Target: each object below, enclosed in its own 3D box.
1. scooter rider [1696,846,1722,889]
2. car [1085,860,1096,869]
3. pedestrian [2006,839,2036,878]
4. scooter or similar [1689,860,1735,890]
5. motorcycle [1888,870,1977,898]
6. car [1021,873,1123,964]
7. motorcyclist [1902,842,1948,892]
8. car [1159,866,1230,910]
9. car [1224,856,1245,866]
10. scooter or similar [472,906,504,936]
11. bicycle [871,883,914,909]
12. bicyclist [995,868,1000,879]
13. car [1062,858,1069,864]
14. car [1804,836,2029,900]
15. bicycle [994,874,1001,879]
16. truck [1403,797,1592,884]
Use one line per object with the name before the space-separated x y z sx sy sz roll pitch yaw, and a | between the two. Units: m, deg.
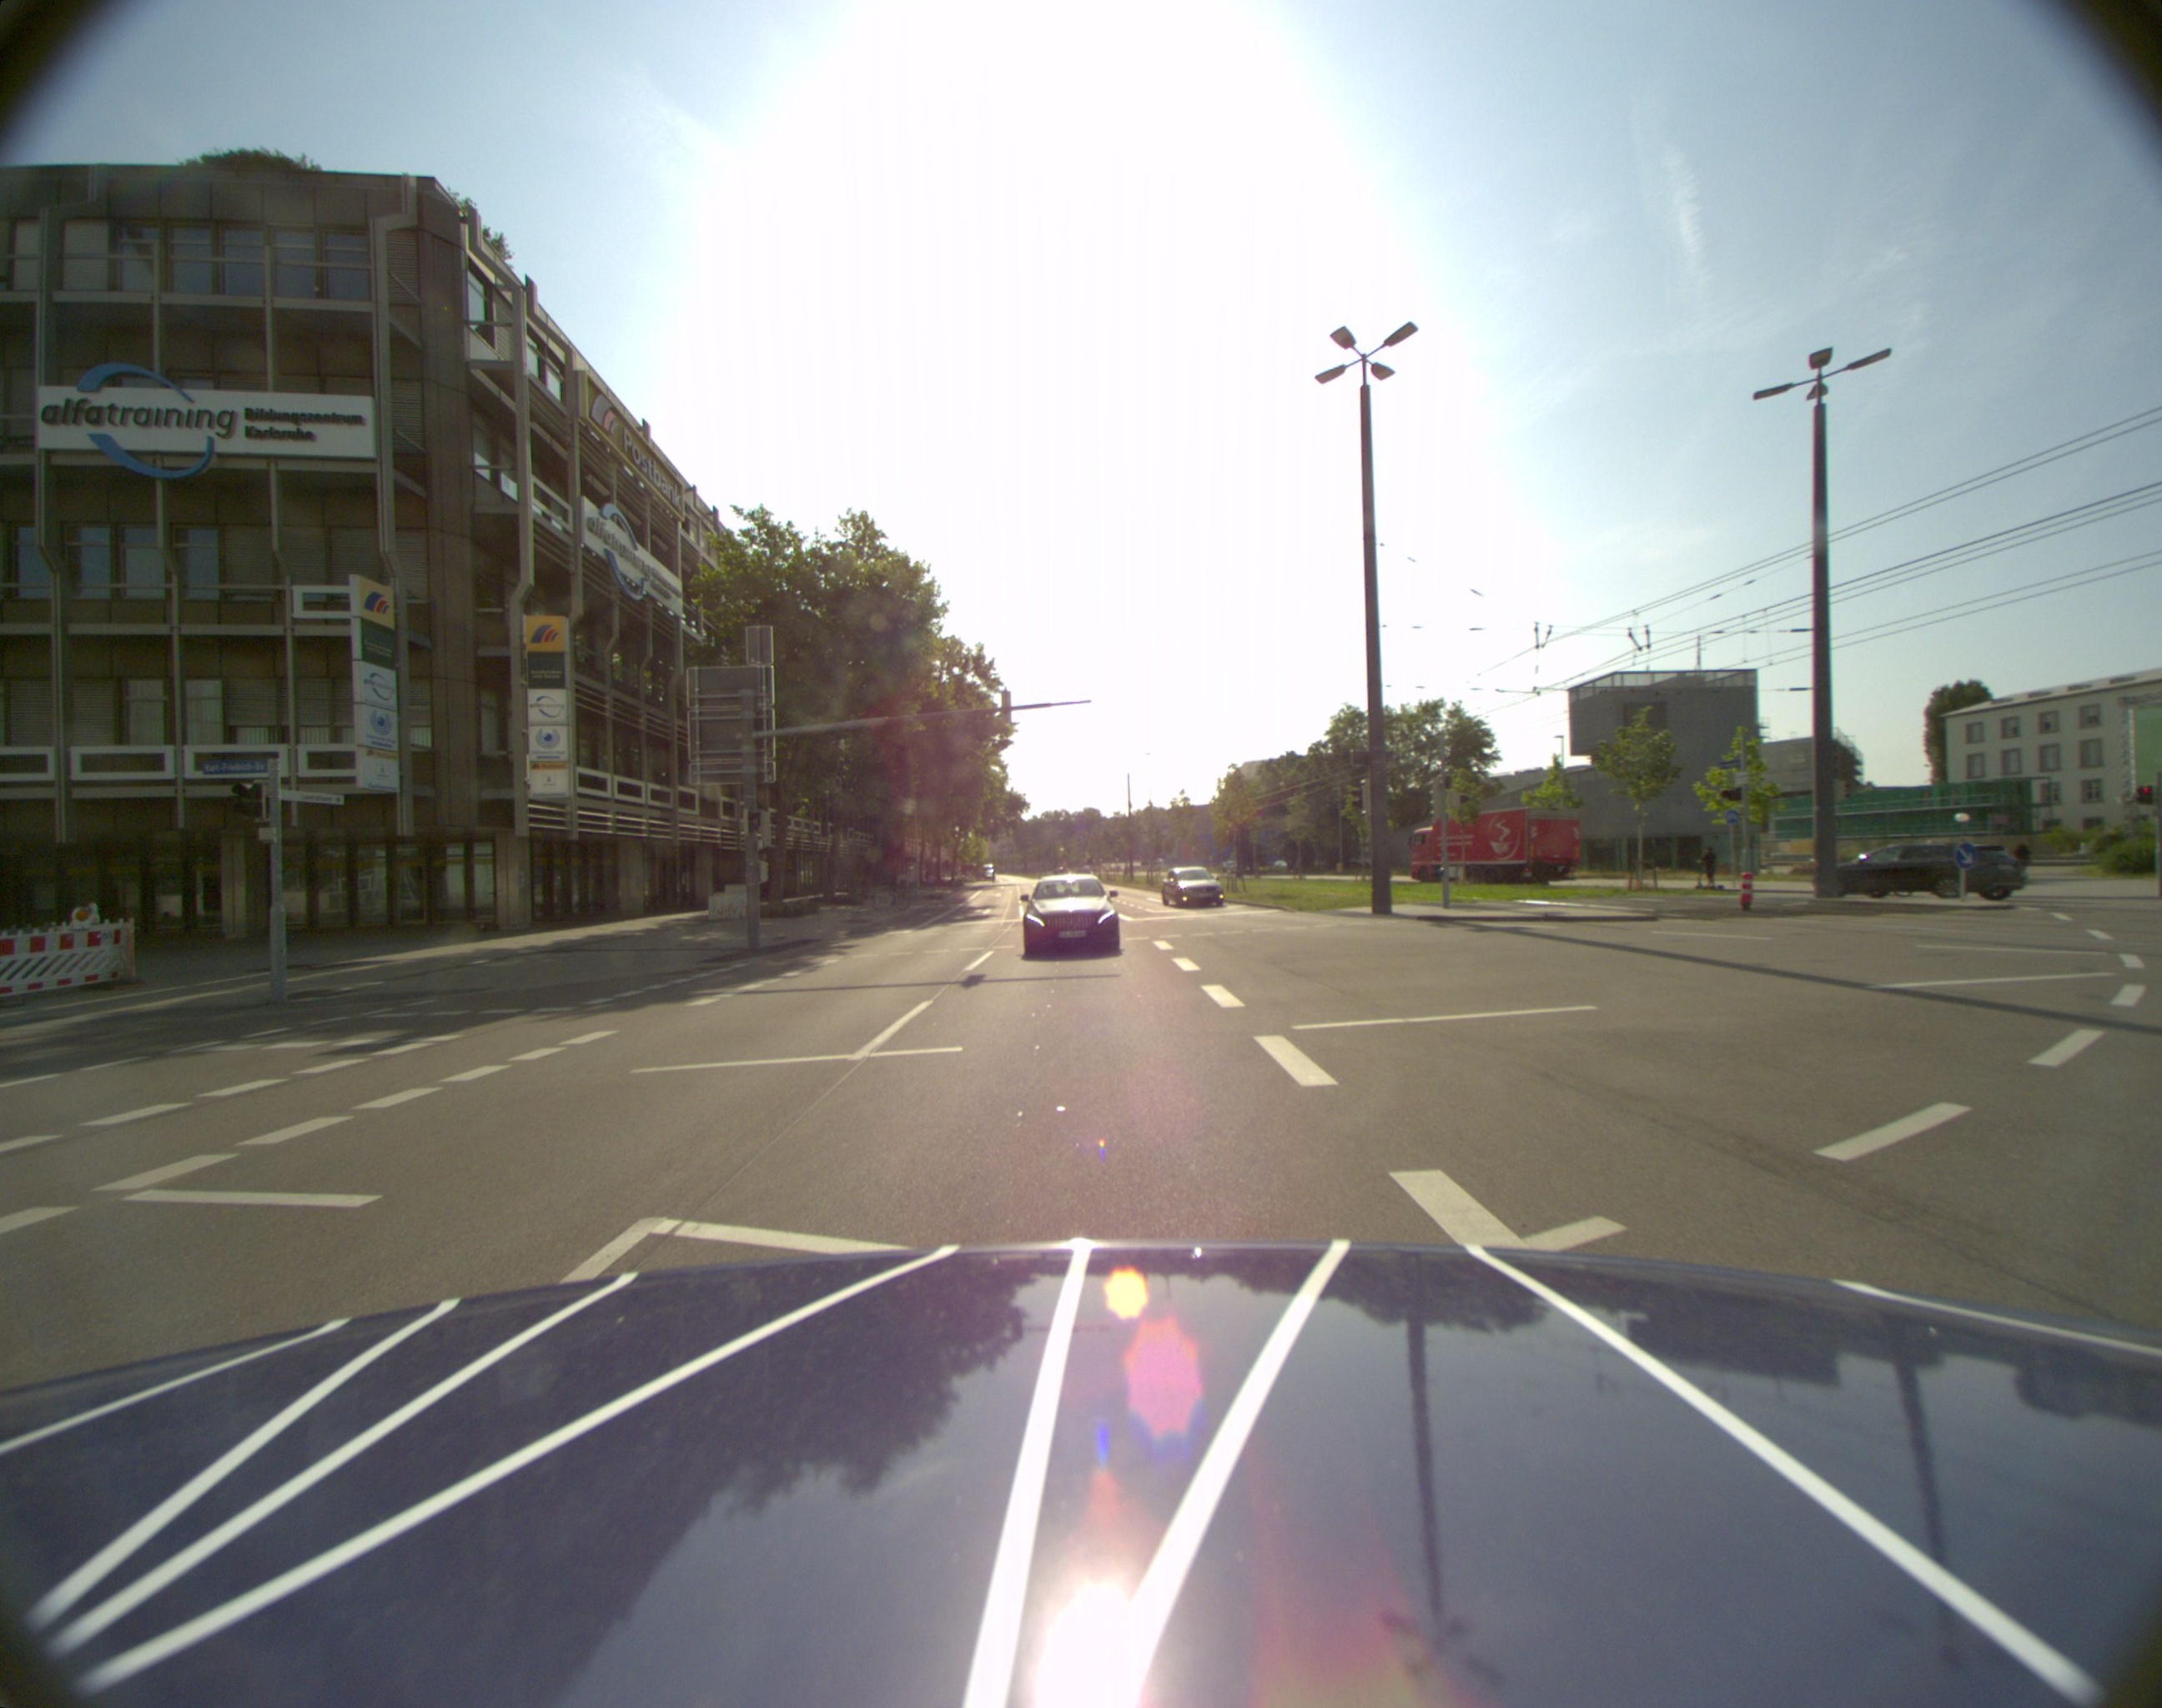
scooter rider | 25.013 0.524 30.268 0.539 1.688 0.549 -2 0 -10
car | 2.080 2.464 174.907 1.999 2.002 3.998 -3 0 -5
pedestrian | 41.726 0.189 33.728 0.607 1.687 0.538 -2 0 -1
scooter or similar | 25.197 0.828 30.364 0.541 1.140 1.382 -2 0 -11
motorcycle | 26.543 0.916 23.728 0.521 0.828 1.821 -2 -1 -12
car | -0.269 1.186 15.757 1.717 1.429 5.056 -2 0 -3
motorcyclist | 26.500 0.411 23.857 0.392 1.519 0.860 -2 0 -12
car | 4.158 1.208 28.392 1.709 1.424 3.868 -4 -1 -4
car | 29.367 1.299 145.689 2.020 1.757 4.818 -2 0 -13
scooter or similar | -18.097 2.032 23.199 0.279 0.838 0.959 -2 0 -5
bicycle | -8.794 1.957 35.472 1.832 1.181 0.537 -1 0 0
bicyclist | -10.958 2.554 99.722 0.612 1.504 0.813 -2 0 -15
car | -4.811 2.134 233.934 1.757 1.968 3.770 -2 0 -5
car | 23.429 0.384 21.550 1.645 1.592 3.996 -2 0 -12
bicycle | -10.925 2.961 99.631 0.630 0.702 1.807 -2 -1 -15
truck | 20.703 -0.541 38.916 2.981 3.786 10.418 -2 0 -6
